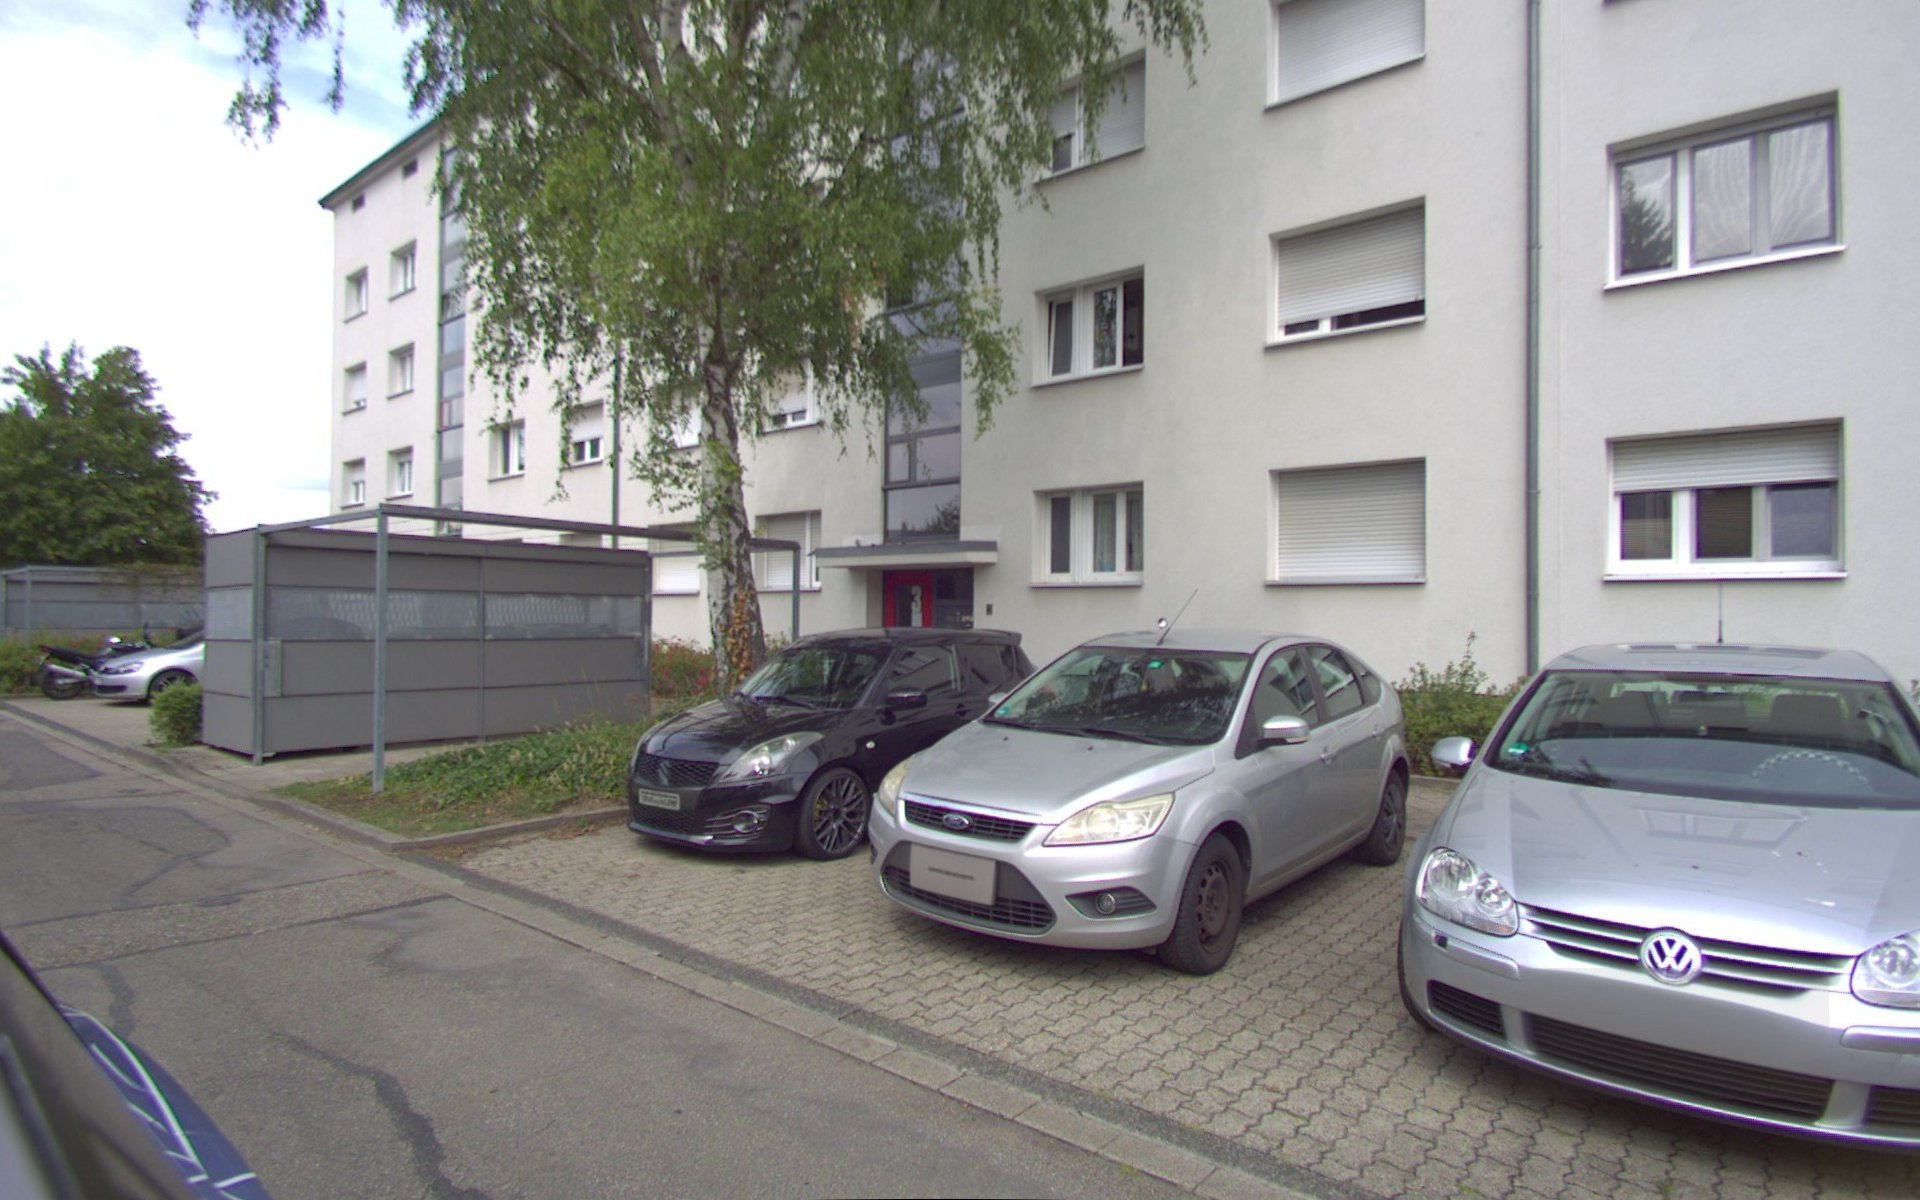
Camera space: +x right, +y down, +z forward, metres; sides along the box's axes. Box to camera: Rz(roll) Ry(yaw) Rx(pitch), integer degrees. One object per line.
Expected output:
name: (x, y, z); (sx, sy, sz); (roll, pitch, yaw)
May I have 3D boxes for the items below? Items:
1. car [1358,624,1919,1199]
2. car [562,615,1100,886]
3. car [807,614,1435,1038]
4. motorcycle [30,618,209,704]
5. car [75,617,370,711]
car: (3.187, 0.874, 4.163); (1.780, 1.475, 4.011); (-1, -2, 39)
car: (-0.724, 0.923, 7.823); (1.780, 1.516, 4.011); (-1, -2, 39)
car: (1.232, 0.887, 5.776); (1.780, 1.516, 4.011); (-1, -2, 39)
motorcycle: (-15.291, 1.117, 18.485); (0.713, 1.475, 2.353); (-1, -4, 39)
car: (-13.245, 1.148, 18.351); (1.901, 1.497, 3.945); (-1, -4, 41)
